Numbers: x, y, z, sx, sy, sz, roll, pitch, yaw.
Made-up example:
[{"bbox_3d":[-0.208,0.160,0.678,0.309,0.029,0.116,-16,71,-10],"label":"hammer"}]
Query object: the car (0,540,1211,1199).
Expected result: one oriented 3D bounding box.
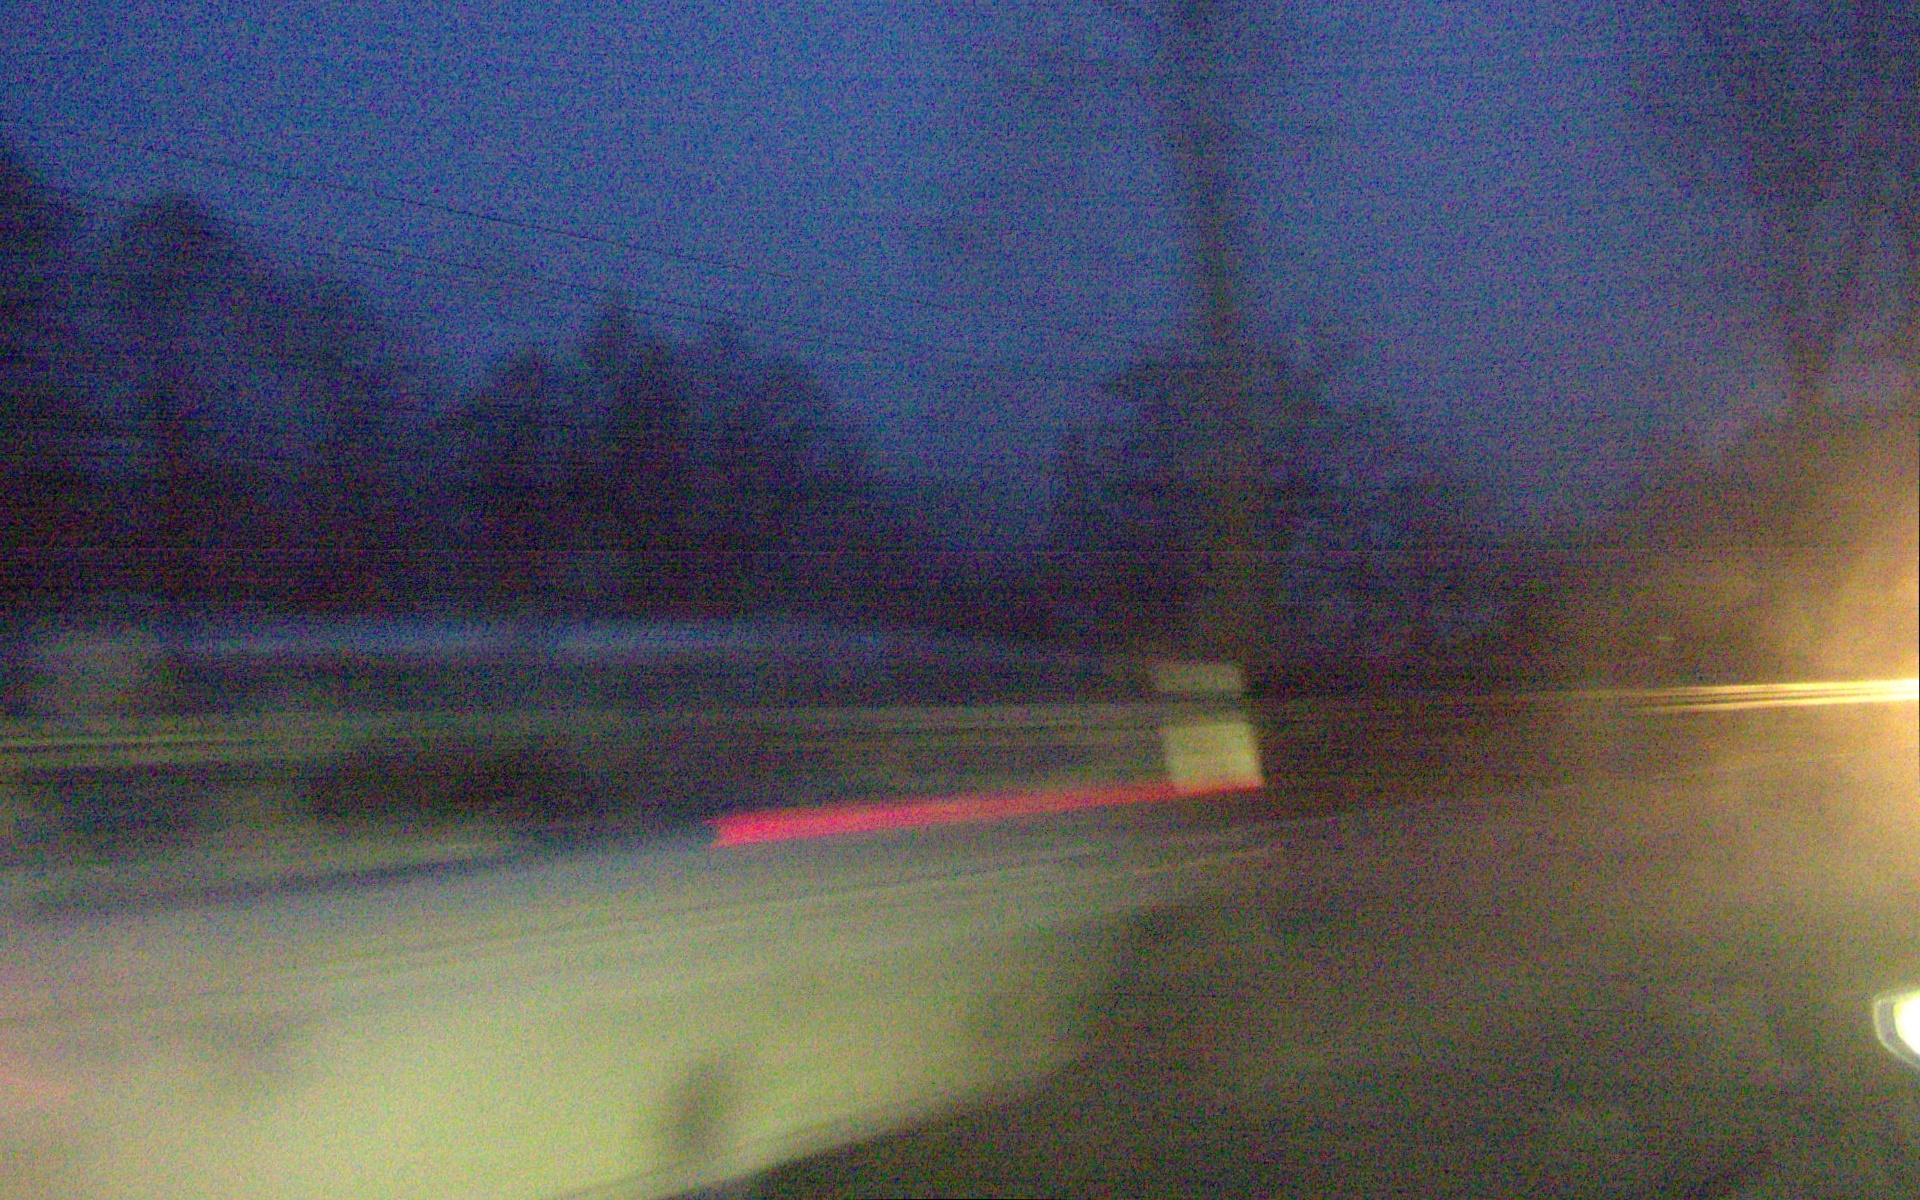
[{"bbox_3d":[-1.294,0.679,2.697,3.646,1.530,1.764,1,0,-30],"label":"car"}]
